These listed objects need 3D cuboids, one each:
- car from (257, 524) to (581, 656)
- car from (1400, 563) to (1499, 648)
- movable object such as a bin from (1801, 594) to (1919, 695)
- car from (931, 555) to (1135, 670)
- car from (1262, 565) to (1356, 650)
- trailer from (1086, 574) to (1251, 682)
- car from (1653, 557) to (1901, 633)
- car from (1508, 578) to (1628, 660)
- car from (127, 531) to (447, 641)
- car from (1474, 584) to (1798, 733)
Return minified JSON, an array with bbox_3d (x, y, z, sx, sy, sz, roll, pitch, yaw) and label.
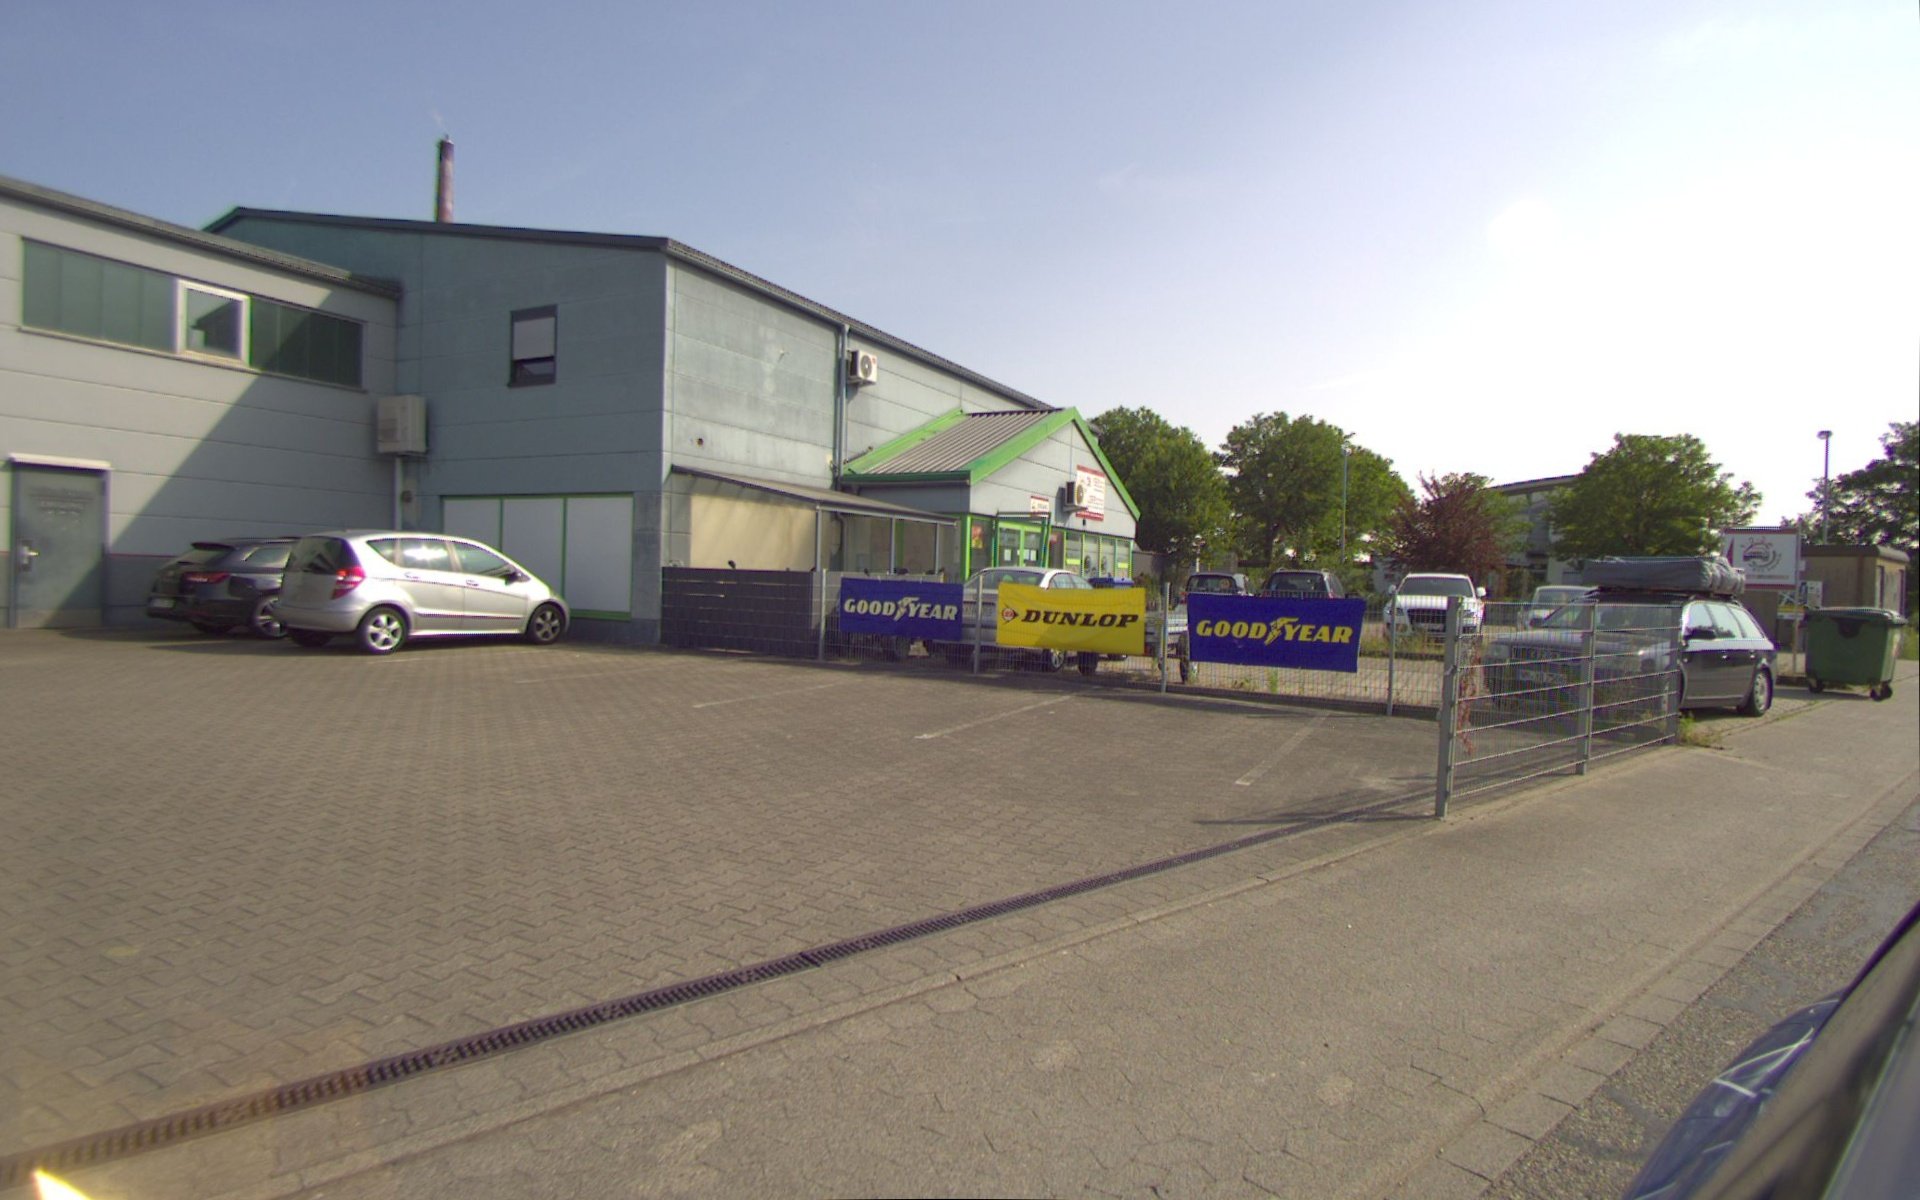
[{"bbox_3d":[-7.420,-0.174,14.248,1.624,1.587,3.768,2,2,28],"label":"car"},{"bbox_3d":[10.463,0.061,21.725,1.703,1.591,4.097,2,2,25],"label":"car"},{"bbox_3d":[13.716,0.642,15.358,1.478,1.369,1.084,1,4,-38],"label":"movable object such as a bin"},{"bbox_3d":[1.294,0.120,15.627,1.628,1.484,4.422,2,2,25],"label":"car"},{"bbox_3d":[7.944,0.121,22.882,1.627,1.741,3.186,2,2,25],"label":"car"},{"bbox_3d":[2.880,0.318,13.612,1.480,1.264,2.950,1,1,26],"label":"trailer"},{"bbox_3d":[29.352,-0.214,36.778,6.688,2.571,2.257,1,0,30],"label":"car"},{"bbox_3d":[12.619,0.314,21.228,1.676,1.484,4.225,2,2,25],"label":"car"},{"bbox_3d":[-9.942,-0.236,15.227,1.667,1.420,3.675,2,2,28],"label":"car"},{"bbox_3d":[7.905,0.567,11.698,4.310,1.385,1.679,1,2,-36],"label":"car"}]
